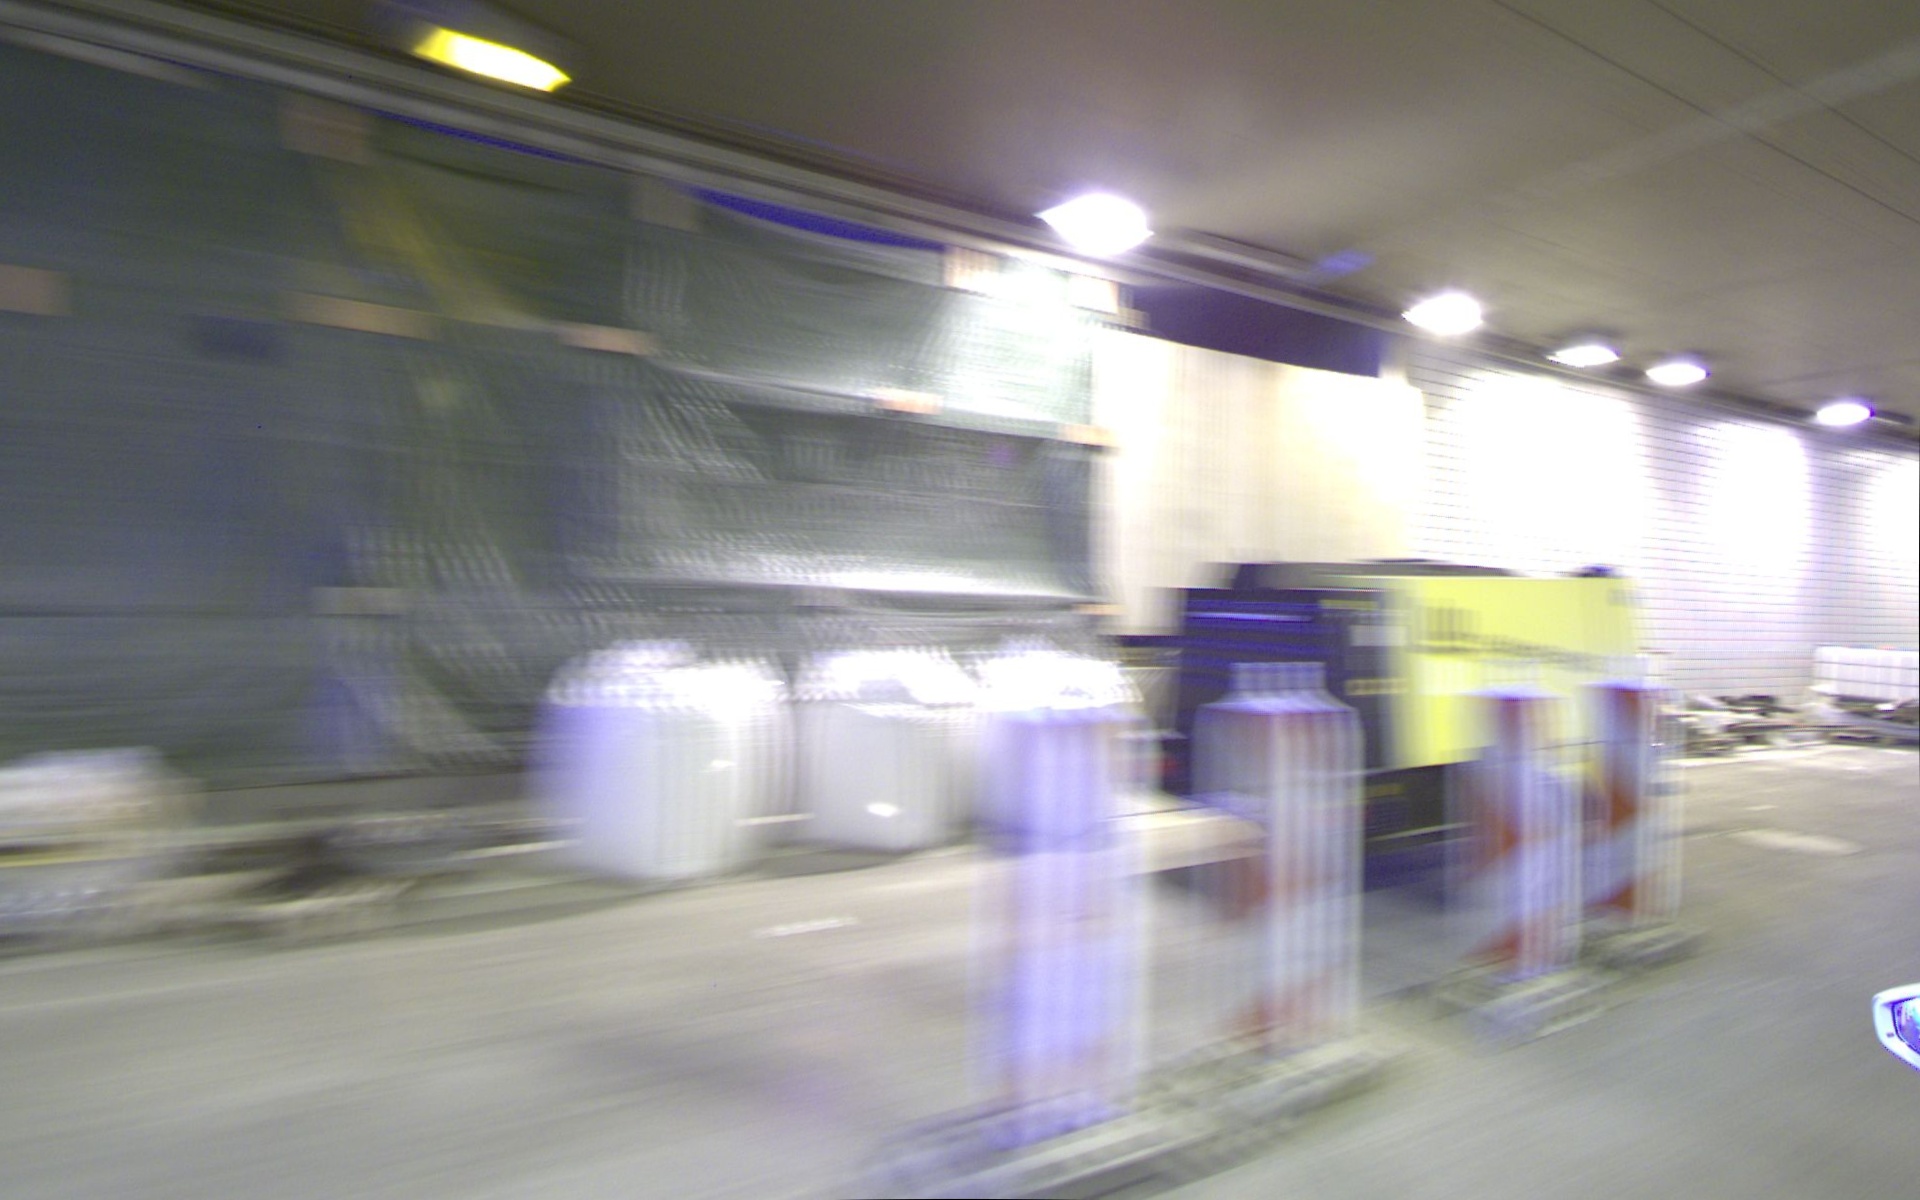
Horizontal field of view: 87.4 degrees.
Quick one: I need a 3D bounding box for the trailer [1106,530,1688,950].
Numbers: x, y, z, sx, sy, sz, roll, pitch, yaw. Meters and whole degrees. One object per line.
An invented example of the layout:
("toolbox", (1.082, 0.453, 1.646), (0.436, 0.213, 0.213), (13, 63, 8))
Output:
("trailer", (2.586, 0.639, 5.856), (3.088, 1.815, 1.630), (2, 0, -32))
